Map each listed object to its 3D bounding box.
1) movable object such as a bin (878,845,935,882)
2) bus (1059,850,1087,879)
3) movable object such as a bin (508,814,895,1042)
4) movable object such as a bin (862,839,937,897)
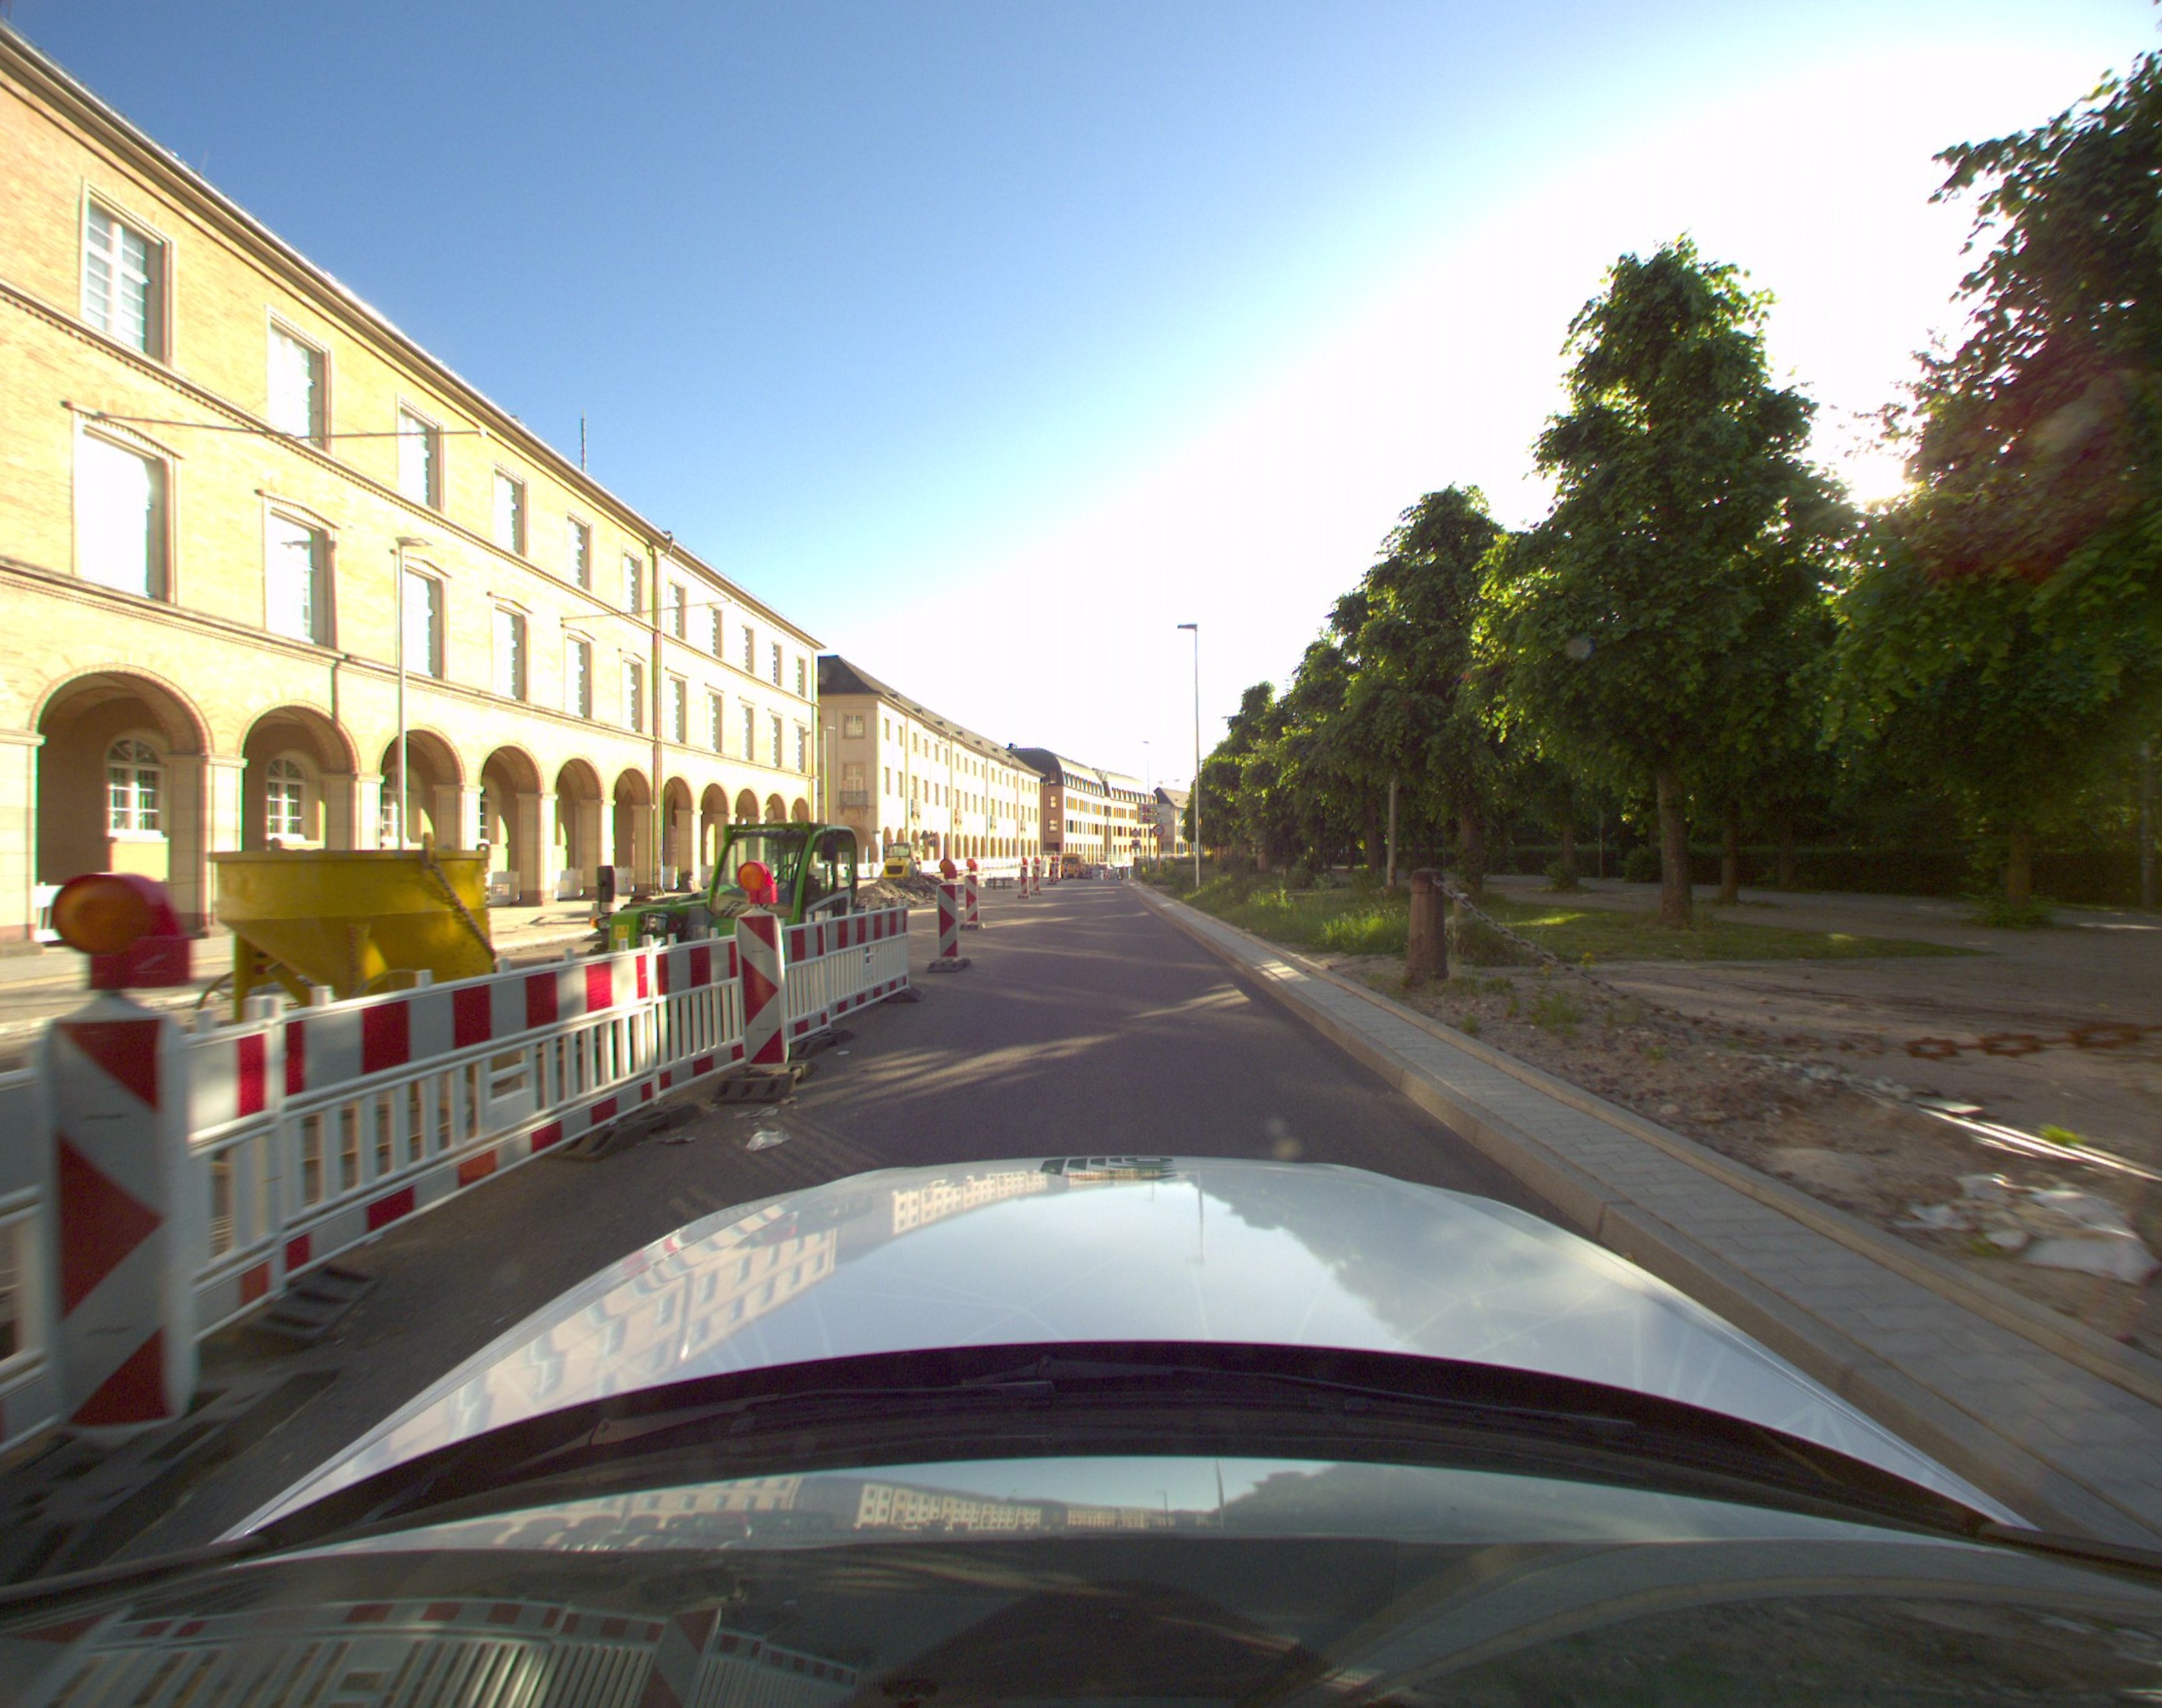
[{"bbox_3d":[-11.781,0.612,55.258,2.533,2.349,4.467,-1,0,5],"label":"movable object such as a bin"},{"bbox_3d":[-0.745,1.065,79.623,2.061,2.687,4.692,0,-2,7],"label":"bus"},{"bbox_3d":[-3.782,0.599,9.197,2.040,1.949,4.340,0,1,5],"label":"movable object such as a bin"},{"bbox_3d":[-8.072,0.554,36.737,2.065,2.475,4.621,0,1,3],"label":"movable object such as a bin"}]
